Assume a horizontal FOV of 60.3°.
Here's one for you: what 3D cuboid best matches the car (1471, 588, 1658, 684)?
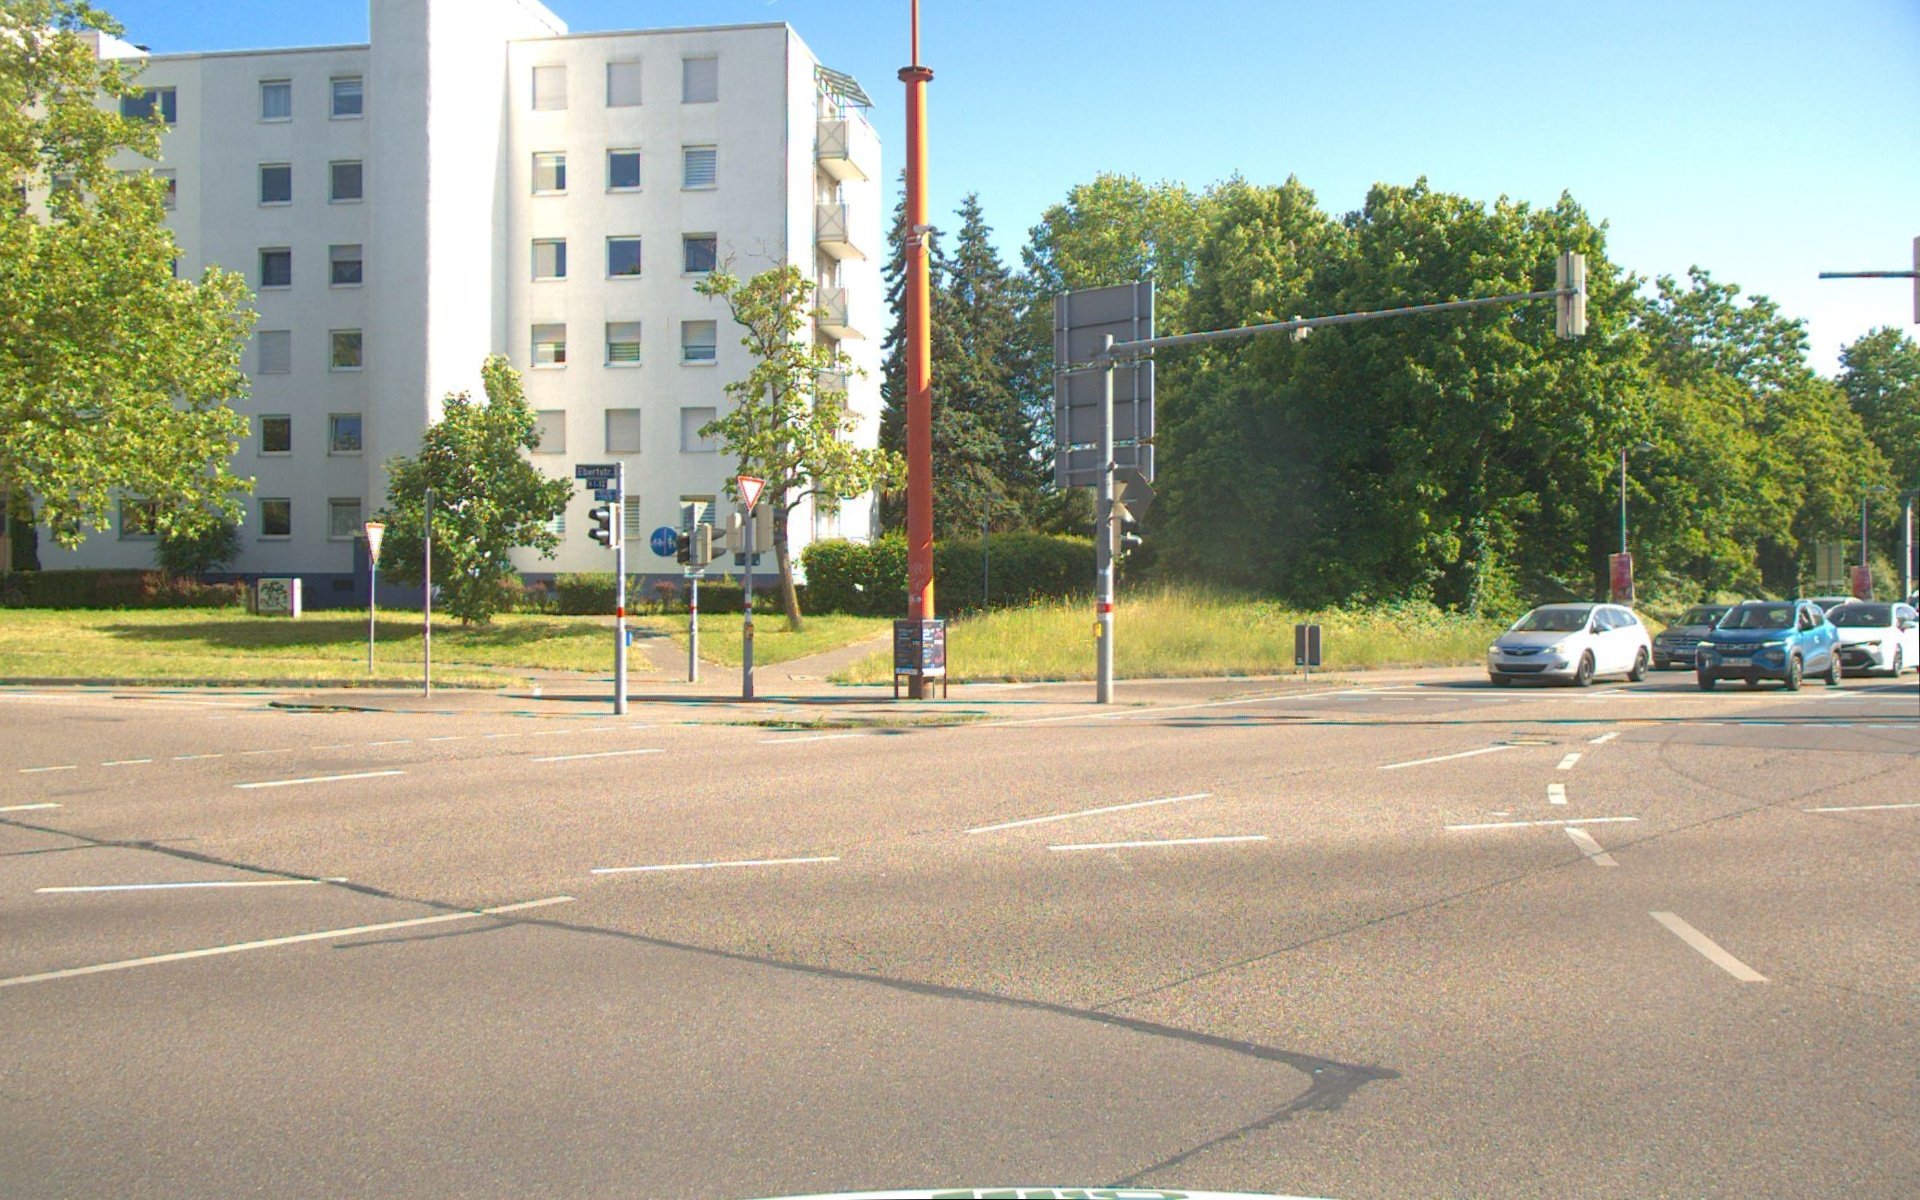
[{"bbox_3d":[11.386,0.643,31.001,1.850,1.681,4.192,-1,-1,42],"label":"car"}]

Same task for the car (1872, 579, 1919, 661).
[{"bbox_3d":[22.601,0.431,38.136,1.847,1.815,3.974,0,0,43],"label":"car"}]

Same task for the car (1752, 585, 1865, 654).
[{"bbox_3d":[21.989,0.528,42.795,1.750,1.681,3.953,-3,-3,40],"label":"car"}]

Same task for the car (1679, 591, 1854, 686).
[{"bbox_3d":[14.118,0.630,28.867,1.775,1.542,3.836,-1,-1,42],"label":"car"}]

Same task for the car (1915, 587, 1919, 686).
[{"bbox_3d":[17.353,0.539,27.457,1.846,1.578,4.005,-2,-1,41],"label":"car"}]

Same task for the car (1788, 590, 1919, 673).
[{"bbox_3d":[18.232,0.605,33.388,1.872,1.582,3.979,-1,-1,40],"label":"car"}]

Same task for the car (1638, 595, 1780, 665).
[{"bbox_3d":[17.348,0.665,38.234,1.858,1.539,3.975,-1,-1,42],"label":"car"}]
